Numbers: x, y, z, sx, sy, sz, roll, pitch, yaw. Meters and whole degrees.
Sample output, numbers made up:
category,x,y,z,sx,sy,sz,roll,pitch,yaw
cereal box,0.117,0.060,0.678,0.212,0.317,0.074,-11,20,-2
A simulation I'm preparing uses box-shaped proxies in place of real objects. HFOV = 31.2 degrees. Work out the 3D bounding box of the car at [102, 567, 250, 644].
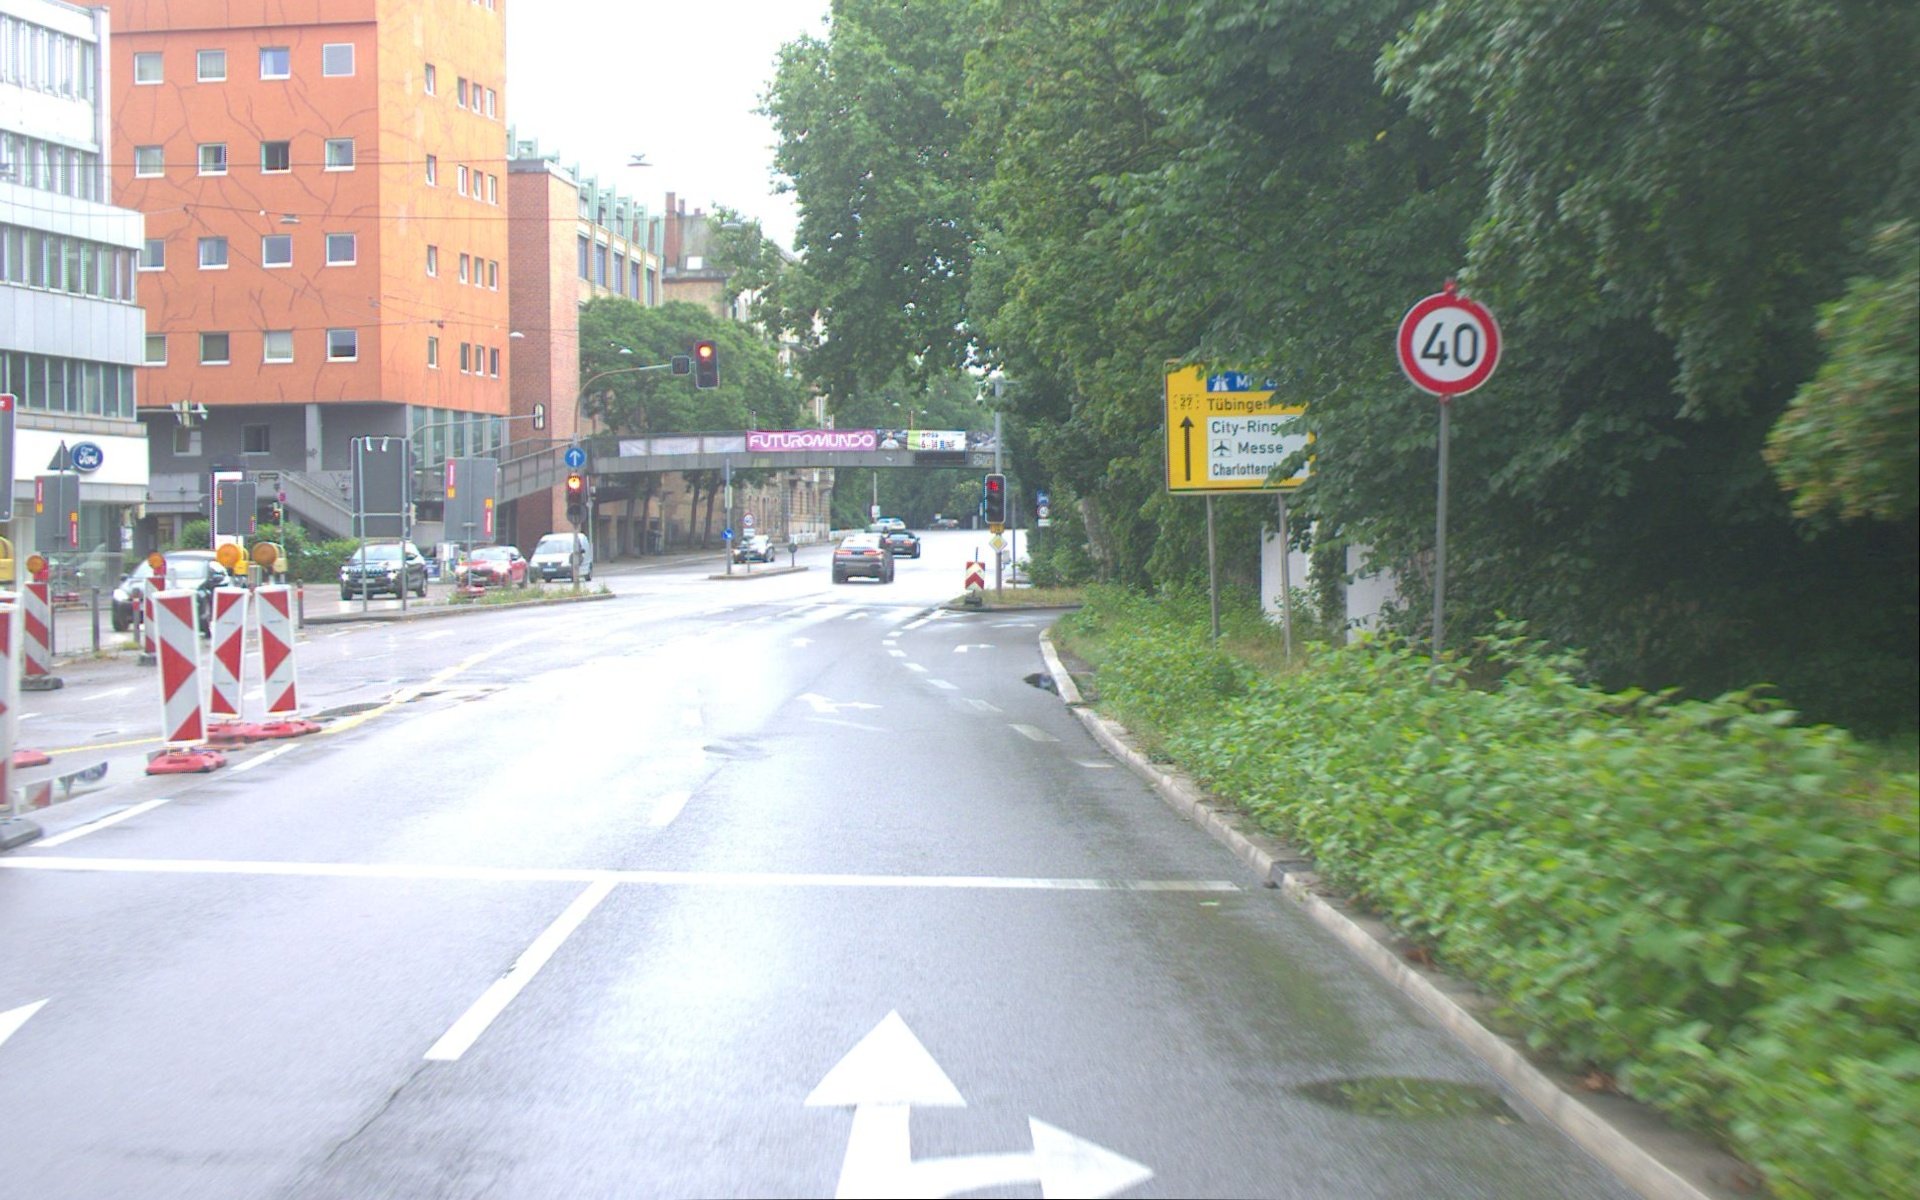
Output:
category,x,y,z,sx,sy,sz,roll,pitch,yaw
car,-14.836,0.081,65.250,1.689,1.349,4.115,-2,1,2

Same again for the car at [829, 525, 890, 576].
category,x,y,z,sx,sy,sz,roll,pitch,yaw
car,-3.684,-1.840,126.470,2.120,1.729,4.199,2,2,-1

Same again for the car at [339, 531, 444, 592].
category,x,y,z,sx,sy,sz,roll,pitch,yaw
car,-16.554,-1.128,100.303,1.846,1.731,4.603,-1,1,6

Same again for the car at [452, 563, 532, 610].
category,x,y,z,sx,sy,sz,roll,pitch,yaw
car,-15.662,-0.465,115.144,1.830,1.497,4.373,-2,1,3

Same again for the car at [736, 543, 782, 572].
category,x,y,z,sx,sy,sz,roll,pitch,yaw
car,-10.404,-2.208,178.231,1.993,1.514,4.000,0,1,2

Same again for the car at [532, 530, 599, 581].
category,x,y,z,sx,sy,sz,roll,pitch,yaw
car,-14.592,-1.651,127.311,1.734,1.780,4.301,-2,1,3

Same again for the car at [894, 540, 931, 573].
category,x,y,z,sx,sy,sz,roll,pitch,yaw
car,-2.538,-2.339,183.328,1.763,1.691,3.705,-2,1,2
